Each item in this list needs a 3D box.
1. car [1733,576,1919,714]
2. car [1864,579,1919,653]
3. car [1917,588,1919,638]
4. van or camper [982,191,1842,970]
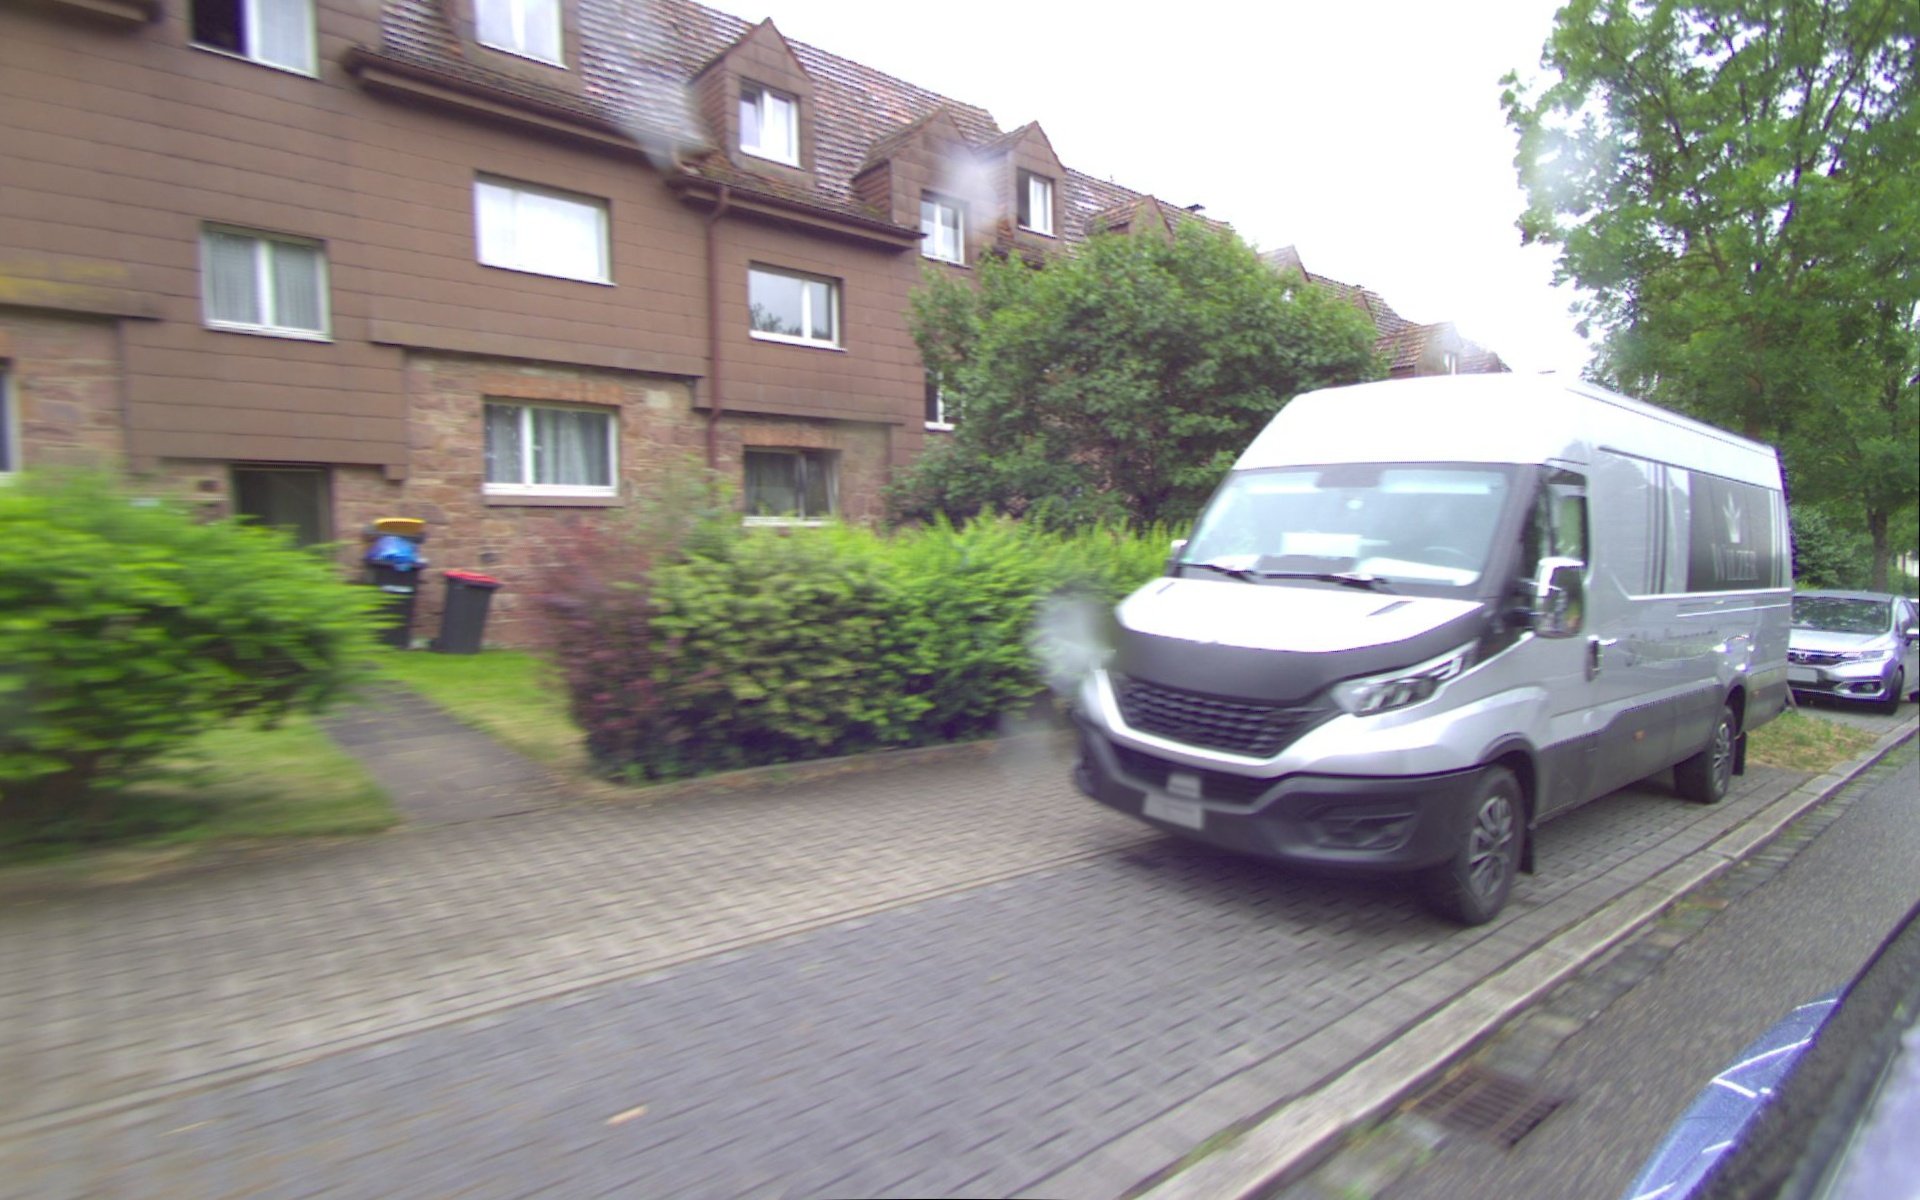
[{"bbox_3d":[12.243,0.512,13.871,3.762,1.546,1.674,0,4,-39],"label":"car"},{"bbox_3d":[23.377,0.397,24.188,4.391,1.622,1.830,0,3,-38],"label":"car"},{"bbox_3d":[31.155,0.351,31.306,4.505,1.698,1.828,0,3,-42],"label":"car"},{"bbox_3d":[3.589,-0.113,6.663,7.172,2.683,2.203,0,3,-41],"label":"van or camper"}]
